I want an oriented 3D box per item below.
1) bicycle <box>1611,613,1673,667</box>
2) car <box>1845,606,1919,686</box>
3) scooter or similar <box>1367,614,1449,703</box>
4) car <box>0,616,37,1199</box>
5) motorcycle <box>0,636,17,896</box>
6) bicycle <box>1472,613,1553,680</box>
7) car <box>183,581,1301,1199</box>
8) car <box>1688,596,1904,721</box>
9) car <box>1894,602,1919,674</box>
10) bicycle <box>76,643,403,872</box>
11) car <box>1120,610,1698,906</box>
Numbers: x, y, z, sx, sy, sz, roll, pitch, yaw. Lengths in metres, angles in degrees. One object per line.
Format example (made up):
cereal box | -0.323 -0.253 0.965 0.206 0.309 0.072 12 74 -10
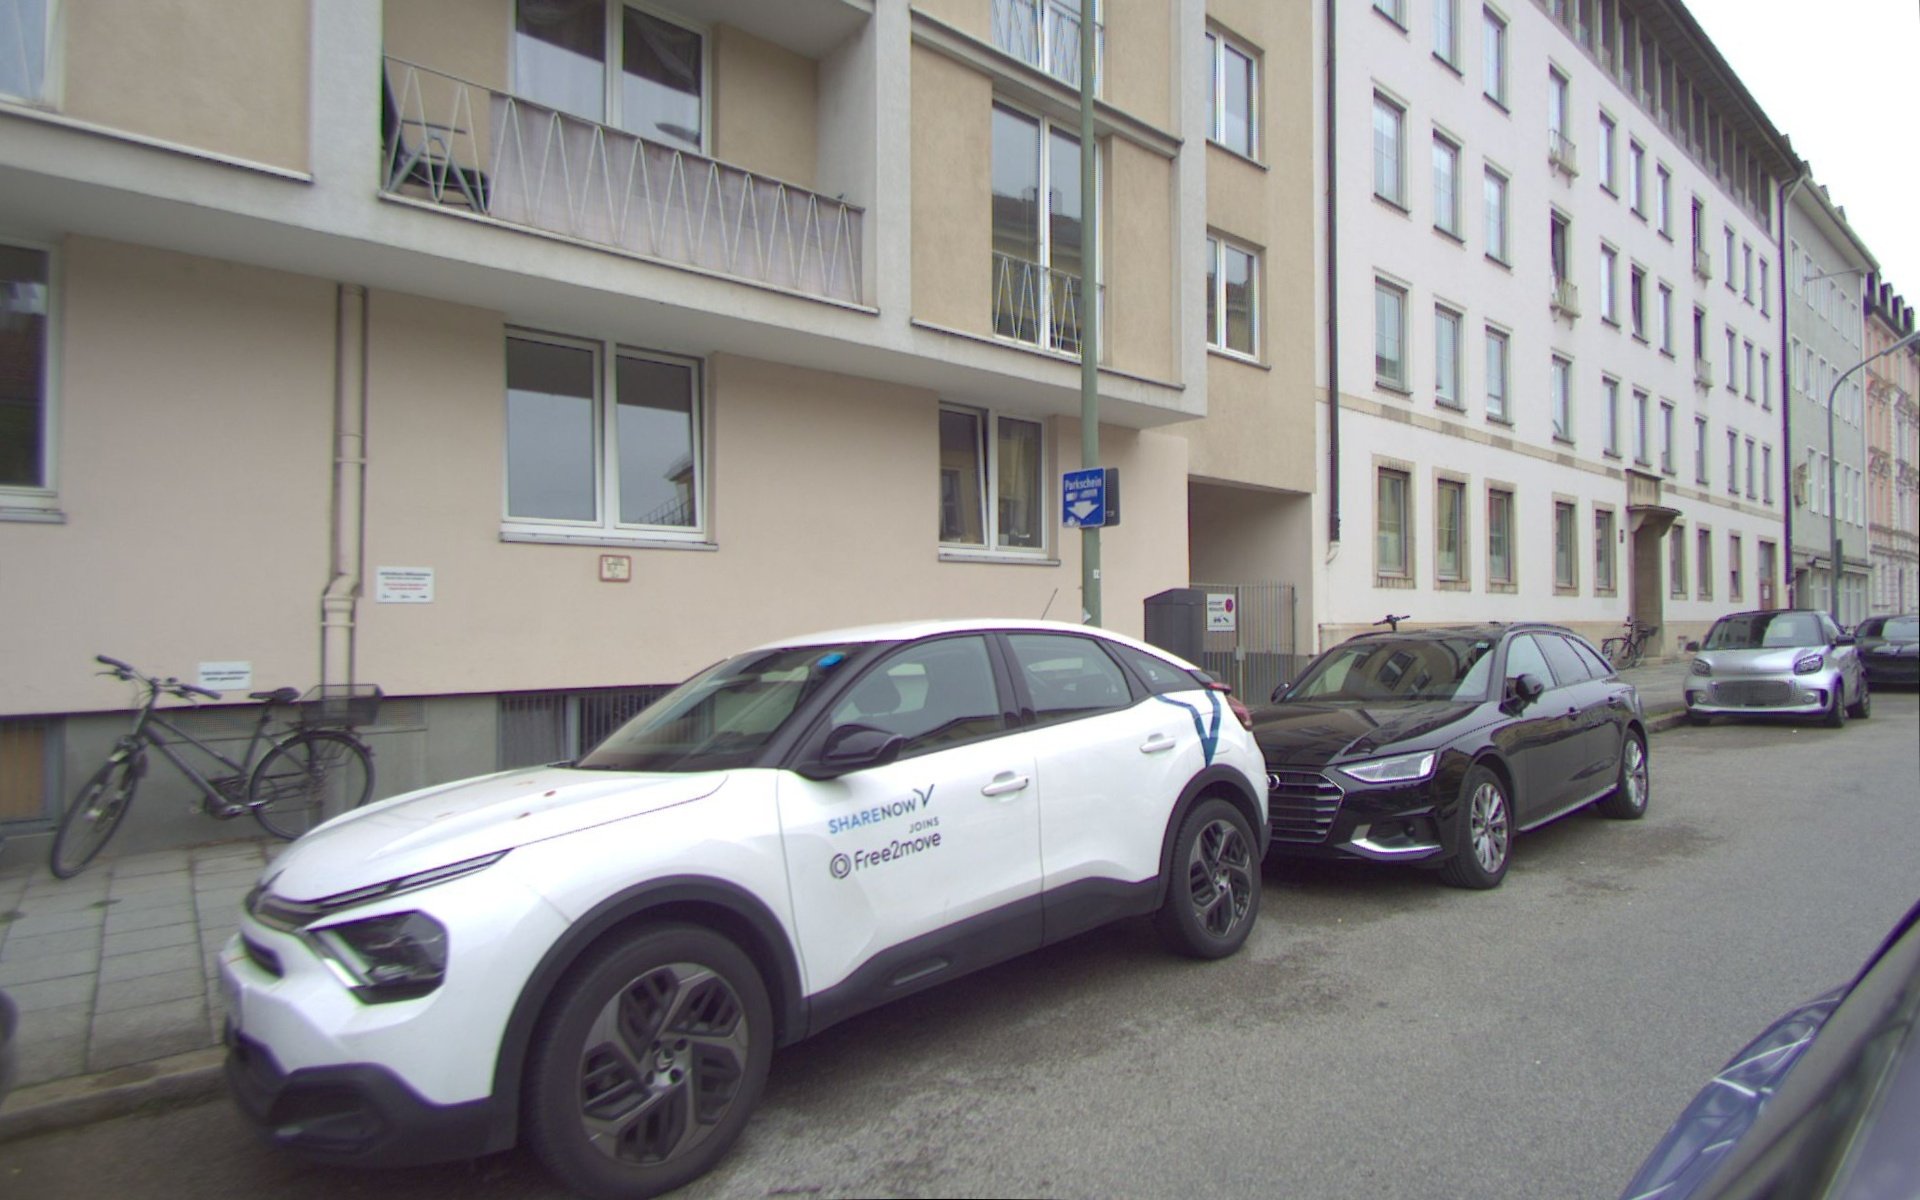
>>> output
bicycle | 14.924 0.857 22.120 2.004 1.093 0.599 1 1 -41
car | 19.261 0.878 20.133 4.618 1.466 1.875 1 -3 -42
scooter or similar | 6.765 0.855 15.276 1.076 1.291 0.730 1 -1 -40
car | -4.146 0.768 1.037 4.609 1.448 1.774 0 -5 -40
motorcycle | -5.787 0.845 4.710 2.005 1.287 0.636 0 0 -41
bicycle | 9.801 0.795 17.931 1.805 1.105 0.631 1 1 -41
car | -0.500 0.781 4.066 4.049 1.488 1.703 0 -5 -42
car | 11.738 0.799 14.161 3.319 1.537 1.617 1 -5 -39
car | 23.428 0.850 23.554 4.410 1.602 1.830 1 -3 -39
bicycle | -4.343 0.879 6.181 1.573 1.171 0.514 0 0 -41
car | 3.272 0.822 6.952 4.410 1.400 1.830 1 -4 -40
